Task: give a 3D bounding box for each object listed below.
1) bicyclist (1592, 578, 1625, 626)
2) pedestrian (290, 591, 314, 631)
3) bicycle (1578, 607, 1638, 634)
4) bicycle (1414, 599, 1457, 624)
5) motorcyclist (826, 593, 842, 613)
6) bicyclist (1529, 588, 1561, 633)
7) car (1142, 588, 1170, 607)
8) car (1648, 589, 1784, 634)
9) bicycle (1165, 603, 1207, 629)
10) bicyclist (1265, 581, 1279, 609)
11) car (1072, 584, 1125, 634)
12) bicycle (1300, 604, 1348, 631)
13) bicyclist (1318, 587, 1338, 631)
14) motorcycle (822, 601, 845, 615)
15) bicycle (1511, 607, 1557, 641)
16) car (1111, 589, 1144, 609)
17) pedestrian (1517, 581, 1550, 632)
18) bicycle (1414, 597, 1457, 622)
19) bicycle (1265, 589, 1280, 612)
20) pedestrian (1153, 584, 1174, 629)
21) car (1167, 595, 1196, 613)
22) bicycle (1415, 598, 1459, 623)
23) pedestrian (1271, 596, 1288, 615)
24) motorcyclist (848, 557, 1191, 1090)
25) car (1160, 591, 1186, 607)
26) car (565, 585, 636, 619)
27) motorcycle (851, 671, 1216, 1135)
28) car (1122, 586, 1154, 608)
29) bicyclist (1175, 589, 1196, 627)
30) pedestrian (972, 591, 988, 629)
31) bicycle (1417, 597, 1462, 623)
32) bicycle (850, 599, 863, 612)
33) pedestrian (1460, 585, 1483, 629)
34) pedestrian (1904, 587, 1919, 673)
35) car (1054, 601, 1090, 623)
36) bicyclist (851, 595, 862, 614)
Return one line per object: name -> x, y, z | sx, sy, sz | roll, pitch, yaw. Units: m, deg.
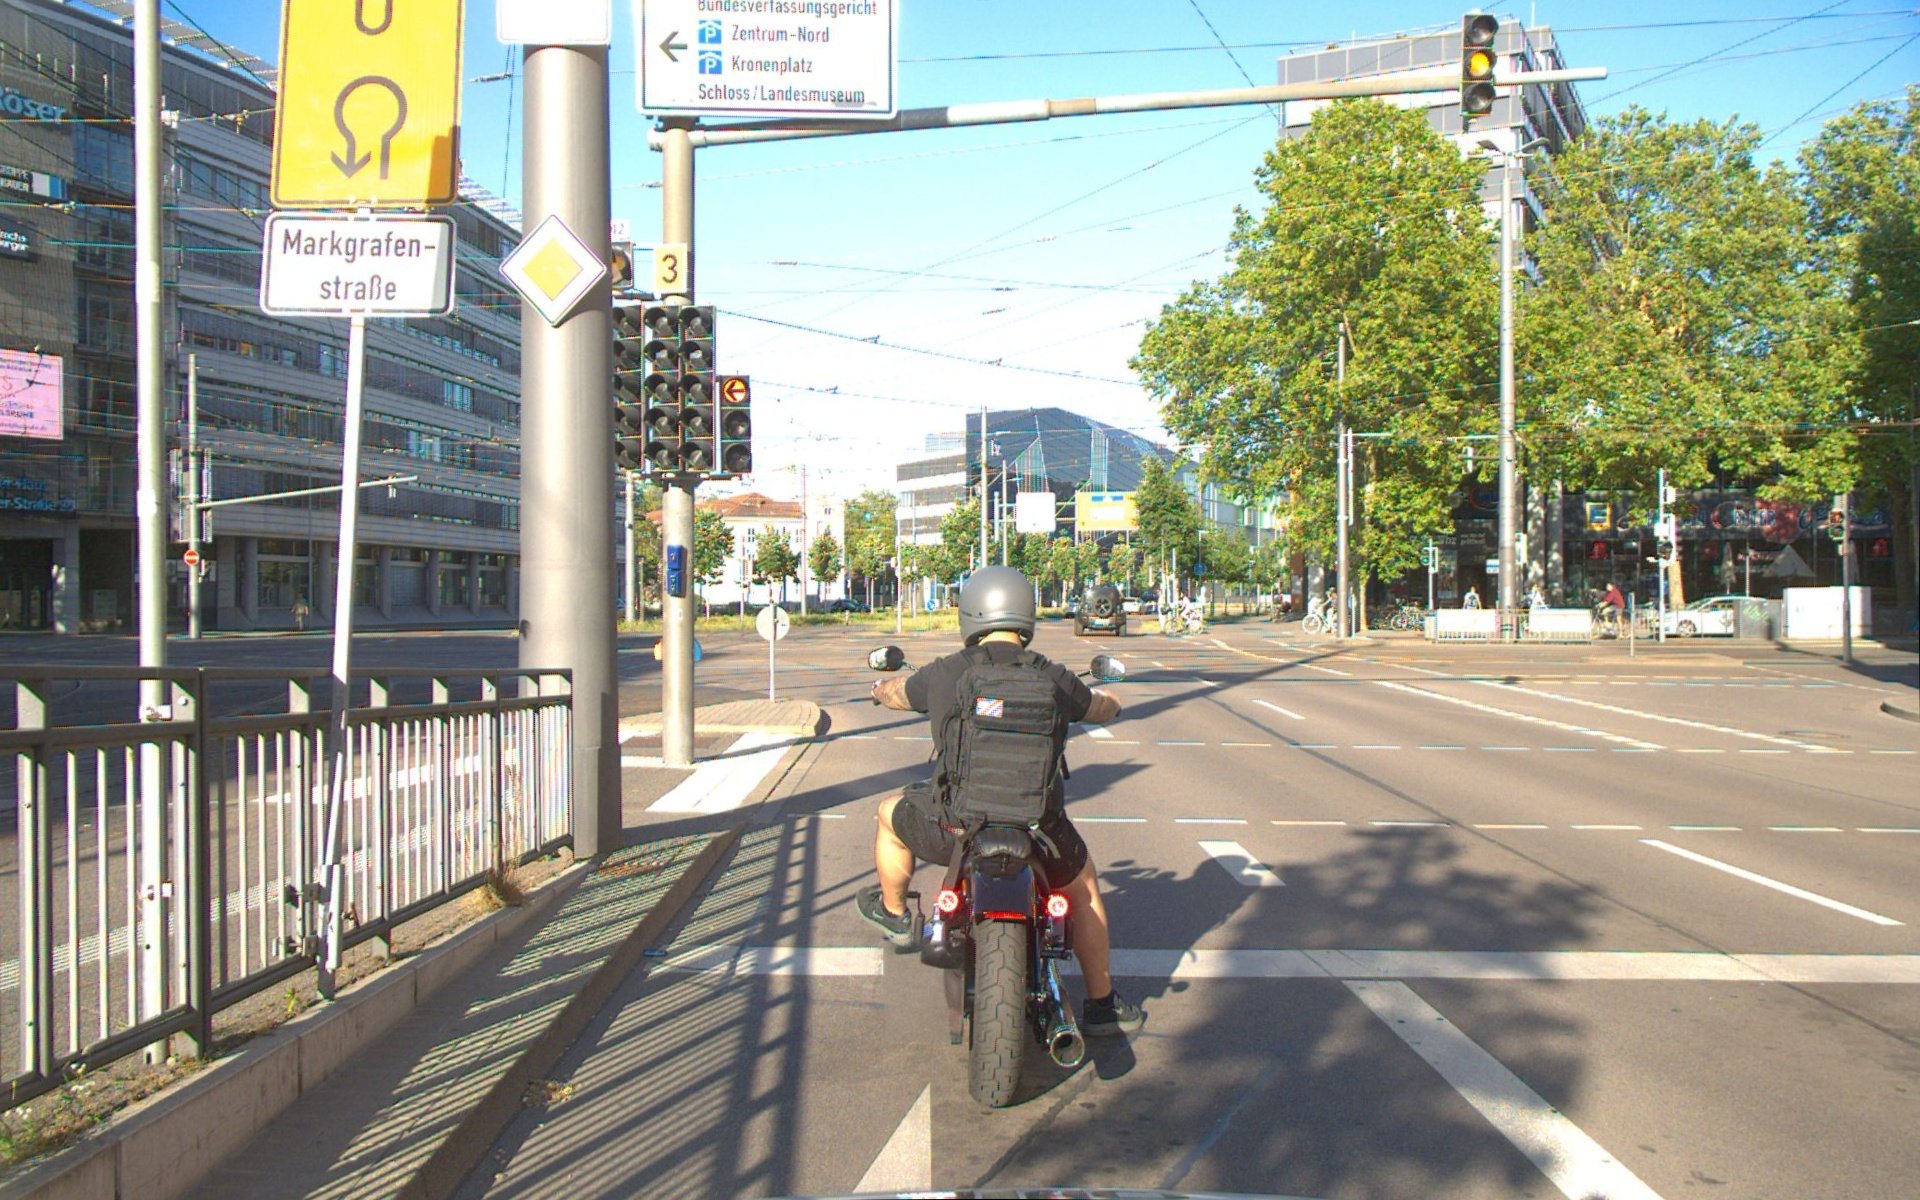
bicyclist -> 22.337, 0.066, 56.952 | 0.906, 1.643, 0.638 | 0, 0, 3
pedestrian -> -30.676, 0.524, 77.084 | 0.660, 1.855, 0.886 | -2, -1, 9
bicycle -> 22.314, 0.710, 56.944 | 1.814, 0.926, 0.652 | 0, 0, 3
bicycle -> 19.438, 0.460, 67.588 | 1.668, 1.003, 0.391 | 0, 0, 13
motorcyclist -> -11.186, 0.263, 146.764 | 0.997, 1.761, 1.461 | 0, 0, 17
bicyclist -> 25.751, 0.438, 72.816 | 1.200, 1.965, 0.836 | 0, 0, 8
car -> 17.584, -0.233, 148.508 | 1.684, 1.686, 3.755 | 0, 0, 19
car -> 26.802, 0.418, 58.737 | 3.903, 1.512, 2.001 | 1, 0, 4
bicycle -> 9.197, 0.637, 67.292 | 1.594, 1.039, 0.516 | -1, -1, 23
bicyclist -> 21.498, -0.335, 113.832 | 0.842, 1.873, 1.258 | 0, 0, 14
car -> 5.563, 0.370, 66.126 | 2.009, 1.906, 4.229 | 1, 0, 5
bicycle -> 14.410, 0.698, 65.515 | 1.813, 1.039, 0.517 | -1, -1, 11
bicyclist -> 14.575, 0.356, 65.495 | 0.727, 1.724, 0.570 | -1, -1, 10
motorcycle -> -11.211, 0.695, 146.630 | 0.963, 1.253, 2.945 | 0, 0, 17
bicycle -> 18.238, 0.757, 52.549 | 0.773, 1.070, 1.922 | 1, 0, 0
car -> 13.699, -0.084, 135.040 | 1.737, 1.541, 3.732 | 0, 0, 21
pedestrian -> 18.222, 0.207, 52.550 | 0.754, 1.622, 0.838 | 1, -1, -1
bicycle -> 19.557, 0.390, 68.051 | 1.668, 1.003, 0.391 | 0, 0, 13
bicycle -> 21.509, 0.030, 113.776 | 0.842, 1.507, 2.578 | 0, 0, 14
pedestrian -> 8.540, 0.269, 69.386 | 0.688, 1.869, 0.513 | 1, -1, 35
car -> 19.176, 0.351, 142.850 | 1.803, 1.490, 4.002 | 1, 0, 17
bicycle -> 19.231, 0.432, 66.674 | 1.668, 1.003, 0.391 | 0, 0, 13
pedestrian -> 17.549, 0.300, 90.930 | 0.768, 1.075, 0.814 | 0, 0, 22
motorcyclist -> 0.169, 0.667, 5.590 | 1.001, 1.579, 1.286 | 1, 0, -1
car -> 20.142, -0.075, 156.320 | 1.685, 1.510, 3.755 | 0, 0, 20
car -> -17.021, 0.080, 78.477 | 1.753, 1.491, 4.315 | -1, 1, 10
motorcycle -> 0.185, 0.882, 5.698 | 0.985, 1.145, 2.323 | 1, 0, -1
car -> 15.229, -0.250, 141.417 | 1.781, 1.849, 3.944 | 0, 0, 21
bicyclist -> 9.179, 0.323, 67.321 | 0.727, 1.529, 0.570 | -1, -1, 23
pedestrian -> 0.853, 0.414, 68.893 | 0.643, 1.610, 0.489 | 0, 0, 3
bicycle -> 19.079, 0.395, 65.827 | 1.668, 1.003, 0.391 | 0, 0, 13
bicycle -> -9.743, 0.515, 155.305 | 0.629, 1.127, 1.686 | 0, 0, 17
pedestrian -> 22.299, 0.302, 72.118 | 0.829, 1.884, 0.810 | 2, 0, 14
pedestrian -> 17.808, 0.554, 30.201 | 0.662, 1.566, 0.741 | 1, -1, -8
car -> 8.067, 0.847, 118.841 | 1.861, 1.534, 4.003 | 1, 0, 14
bicyclist -> -9.756, 0.417, 155.331 | 0.747, 1.696, 0.994 | 0, 0, 16
